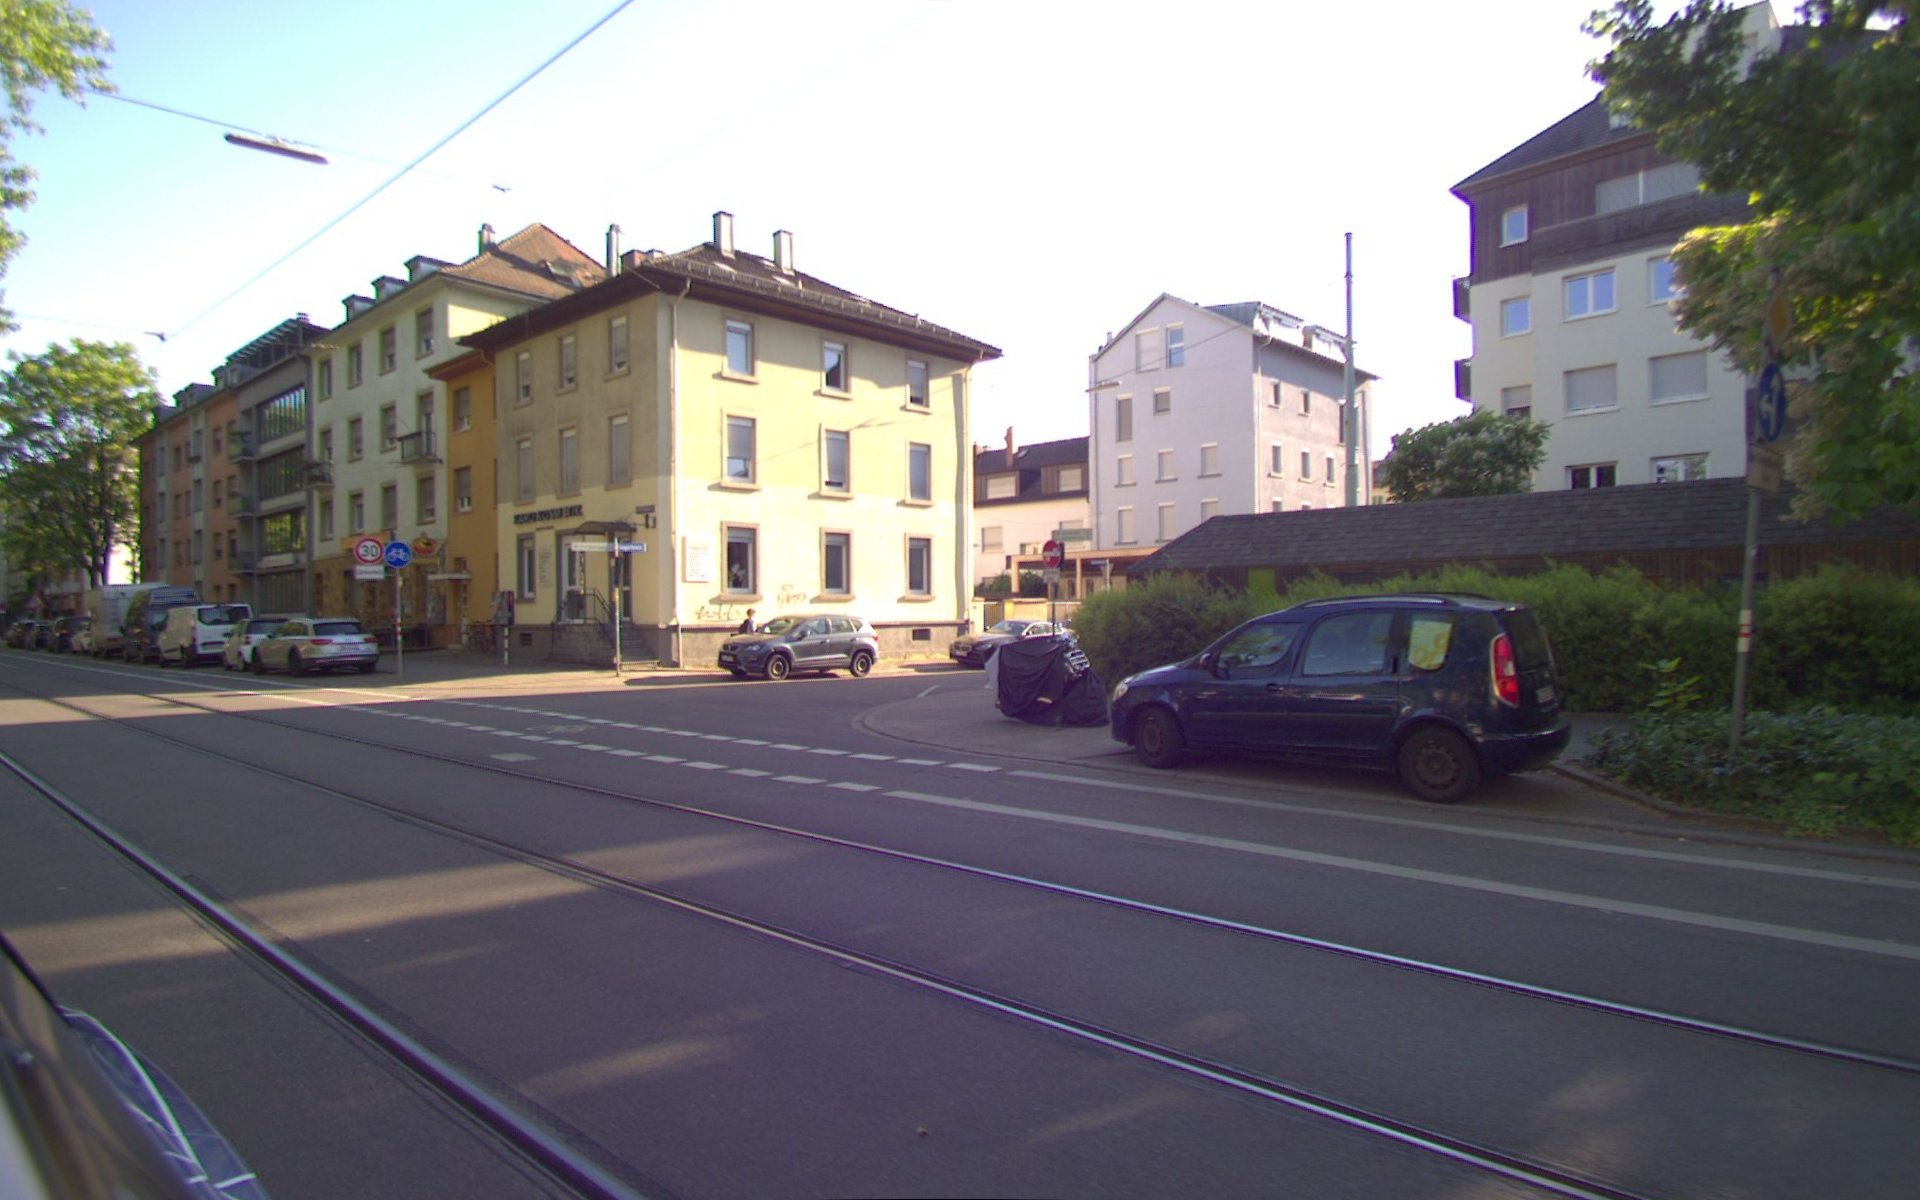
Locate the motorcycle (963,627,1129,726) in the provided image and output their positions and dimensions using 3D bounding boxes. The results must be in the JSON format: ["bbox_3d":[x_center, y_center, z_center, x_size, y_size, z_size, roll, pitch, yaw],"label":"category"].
[{"bbox_3d":[1.083,0.987,13.232,2.150,1.148,0.665,-4,0,44],"label":"motorcycle"}]

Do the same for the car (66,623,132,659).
[{"bbox_3d":[-39.601,1.854,46.517,3.470,1.526,1.768,-1,0,40],"label":"car"}]

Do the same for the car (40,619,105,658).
[{"bbox_3d":[-43.987,1.875,50.134,4.431,1.767,1.768,-1,0,40],"label":"car"}]

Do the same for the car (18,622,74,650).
[{"bbox_3d":[-51.416,2.009,56.895,4.431,1.482,1.768,-1,0,40],"label":"car"}]

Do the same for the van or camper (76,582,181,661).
[{"bbox_3d":[-34.914,0.874,42.431,5.989,2.999,2.392,-1,3,42],"label":"van or camper"}]

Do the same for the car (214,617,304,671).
[{"bbox_3d":[-20.934,1.283,30.191,2.881,1.504,1.554,-1,0,41],"label":"car"}]

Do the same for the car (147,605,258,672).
[{"bbox_3d":[-25.461,1.238,33.972,4.937,2.062,1.903,-1,0,40],"label":"car"}]

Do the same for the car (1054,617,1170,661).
[{"bbox_3d":[5.270,1.302,34.805,1.967,1.399,4.016,-1,-2,44],"label":"car"}]

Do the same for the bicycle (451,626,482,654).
[{"bbox_3d":[-16.565,1.331,33.964,1.646,0.935,0.358,-1,-1,41],"label":"bicycle"}]

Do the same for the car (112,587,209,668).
[{"bbox_3d":[-29.982,1.009,37.896,4.544,2.766,1.903,-1,3,41],"label":"car"}]

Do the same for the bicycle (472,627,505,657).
[{"bbox_3d":[-15.304,1.344,32.827,1.646,0.935,0.358,-1,-1,41],"label":"bicycle"}]

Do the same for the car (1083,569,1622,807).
[{"bbox_3d":[3.464,0.674,9.449,4.262,1.703,1.970,-1,-1,44],"label":"car"}]

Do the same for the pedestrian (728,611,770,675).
[{"bbox_3d":[-5.529,1.104,26.537,0.764,1.599,0.753,0,2,-45],"label":"pedestrian"}]

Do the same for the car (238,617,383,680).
[{"bbox_3d":[-17.445,1.242,27.075,4.935,1.504,1.754,-1,0,38],"label":"car"}]

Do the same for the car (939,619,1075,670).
[{"bbox_3d":[1.463,1.301,30.738,1.967,1.400,4.016,-1,-2,44],"label":"car"}]

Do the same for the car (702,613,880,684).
[{"bbox_3d":[-4.162,1.143,25.321,1.967,1.630,4.016,-1,-2,44],"label":"car"}]

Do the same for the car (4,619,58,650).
[{"bbox_3d":[-54.967,2.019,59.846,4.431,1.682,1.768,-1,0,40],"label":"car"}]
